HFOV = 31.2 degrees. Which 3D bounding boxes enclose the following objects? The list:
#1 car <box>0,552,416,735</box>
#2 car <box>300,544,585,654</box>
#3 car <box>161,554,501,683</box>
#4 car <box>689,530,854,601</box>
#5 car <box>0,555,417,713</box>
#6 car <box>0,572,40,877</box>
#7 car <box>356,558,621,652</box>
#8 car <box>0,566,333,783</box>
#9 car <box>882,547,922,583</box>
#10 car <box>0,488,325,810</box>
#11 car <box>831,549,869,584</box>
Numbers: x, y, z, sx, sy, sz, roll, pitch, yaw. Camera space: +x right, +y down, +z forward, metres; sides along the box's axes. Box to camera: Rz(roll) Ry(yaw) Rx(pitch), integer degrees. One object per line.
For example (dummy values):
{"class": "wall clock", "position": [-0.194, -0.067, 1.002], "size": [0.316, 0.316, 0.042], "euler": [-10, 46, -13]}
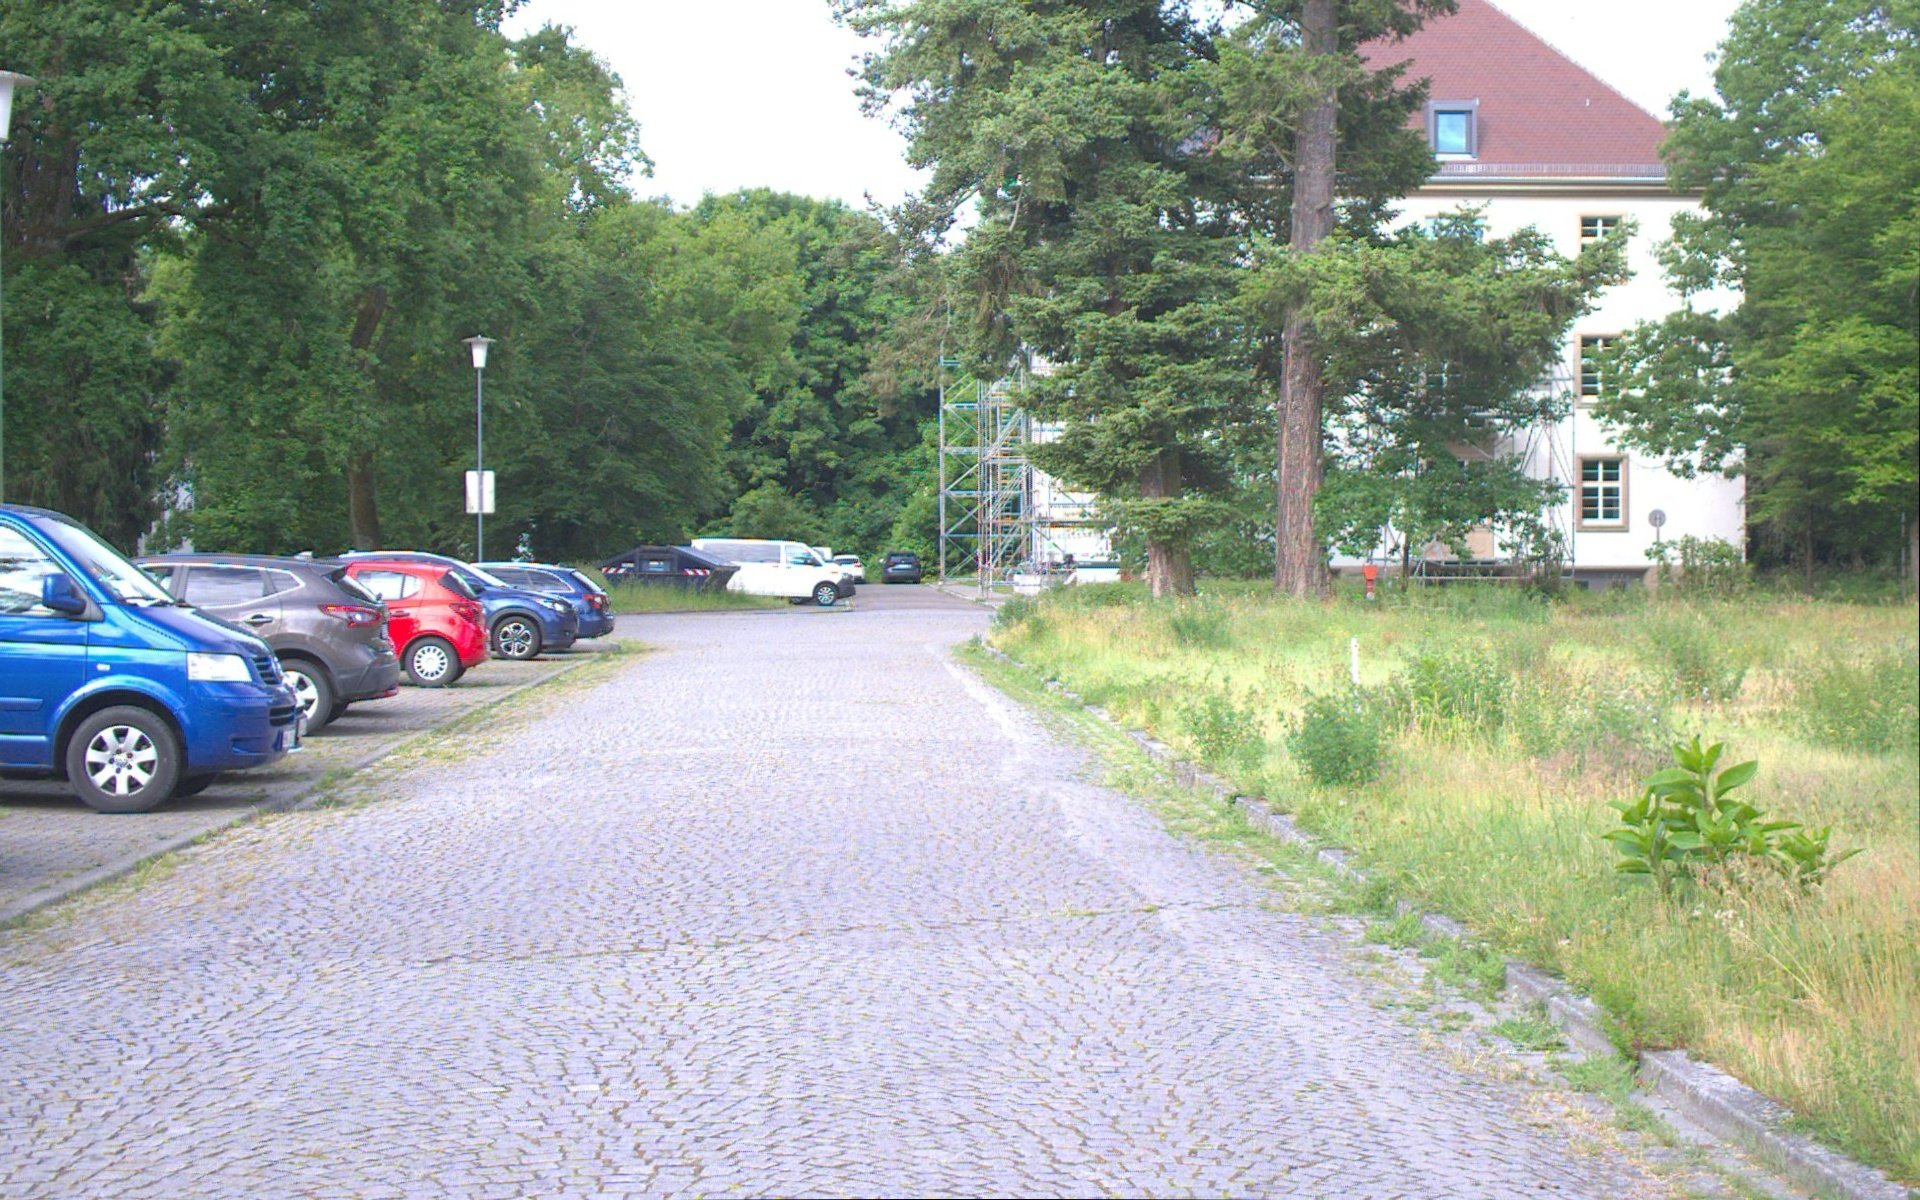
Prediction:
{"class": "car", "position": [-7.046, 0.372, 30.946], "size": [4.067, 1.570, 1.955], "euler": [0, 1, -3]}
{"class": "car", "position": [-7.707, -0.031, 51.500], "size": [4.071, 1.598, 1.788], "euler": [0, 1, -3]}
{"class": "car", "position": [-7.500, 0.208, 41.252], "size": [3.815, 1.484, 1.788], "euler": [0, 1, -3]}
{"class": "car", "position": [-5.759, -1.052, 105.247], "size": [4.977, 2.065, 2.052], "euler": [1, -1, -3]}
{"class": "car", "position": [-7.355, 0.318, 33.725], "size": [3.815, 1.481, 1.761], "euler": [0, 1, -2]}
{"class": "car", "position": [-6.737, 0.610, 16.778], "size": [4.005, 1.496, 1.843], "euler": [0, 1, 0]}
{"class": "car", "position": [-7.676, 0.070, 56.202], "size": [4.071, 1.462, 1.626], "euler": [0, 1, 2]}
{"class": "car", "position": [-6.512, 0.509, 24.673], "size": [3.793, 1.488, 1.726], "euler": [0, 1, -4]}
{"class": "car", "position": [-2.895, -1.730, 171.726], "size": [1.790, 1.714, 4.061], "euler": [0, -1, -3]}
{"class": "car", "position": [-6.597, 0.275, 22.081], "size": [4.709, 1.974, 2.038], "euler": [0, 1, -2]}
{"class": "car", "position": [-5.507, -1.674, 171.330], "size": [1.790, 1.630, 4.061], "euler": [0, -1, -3]}
